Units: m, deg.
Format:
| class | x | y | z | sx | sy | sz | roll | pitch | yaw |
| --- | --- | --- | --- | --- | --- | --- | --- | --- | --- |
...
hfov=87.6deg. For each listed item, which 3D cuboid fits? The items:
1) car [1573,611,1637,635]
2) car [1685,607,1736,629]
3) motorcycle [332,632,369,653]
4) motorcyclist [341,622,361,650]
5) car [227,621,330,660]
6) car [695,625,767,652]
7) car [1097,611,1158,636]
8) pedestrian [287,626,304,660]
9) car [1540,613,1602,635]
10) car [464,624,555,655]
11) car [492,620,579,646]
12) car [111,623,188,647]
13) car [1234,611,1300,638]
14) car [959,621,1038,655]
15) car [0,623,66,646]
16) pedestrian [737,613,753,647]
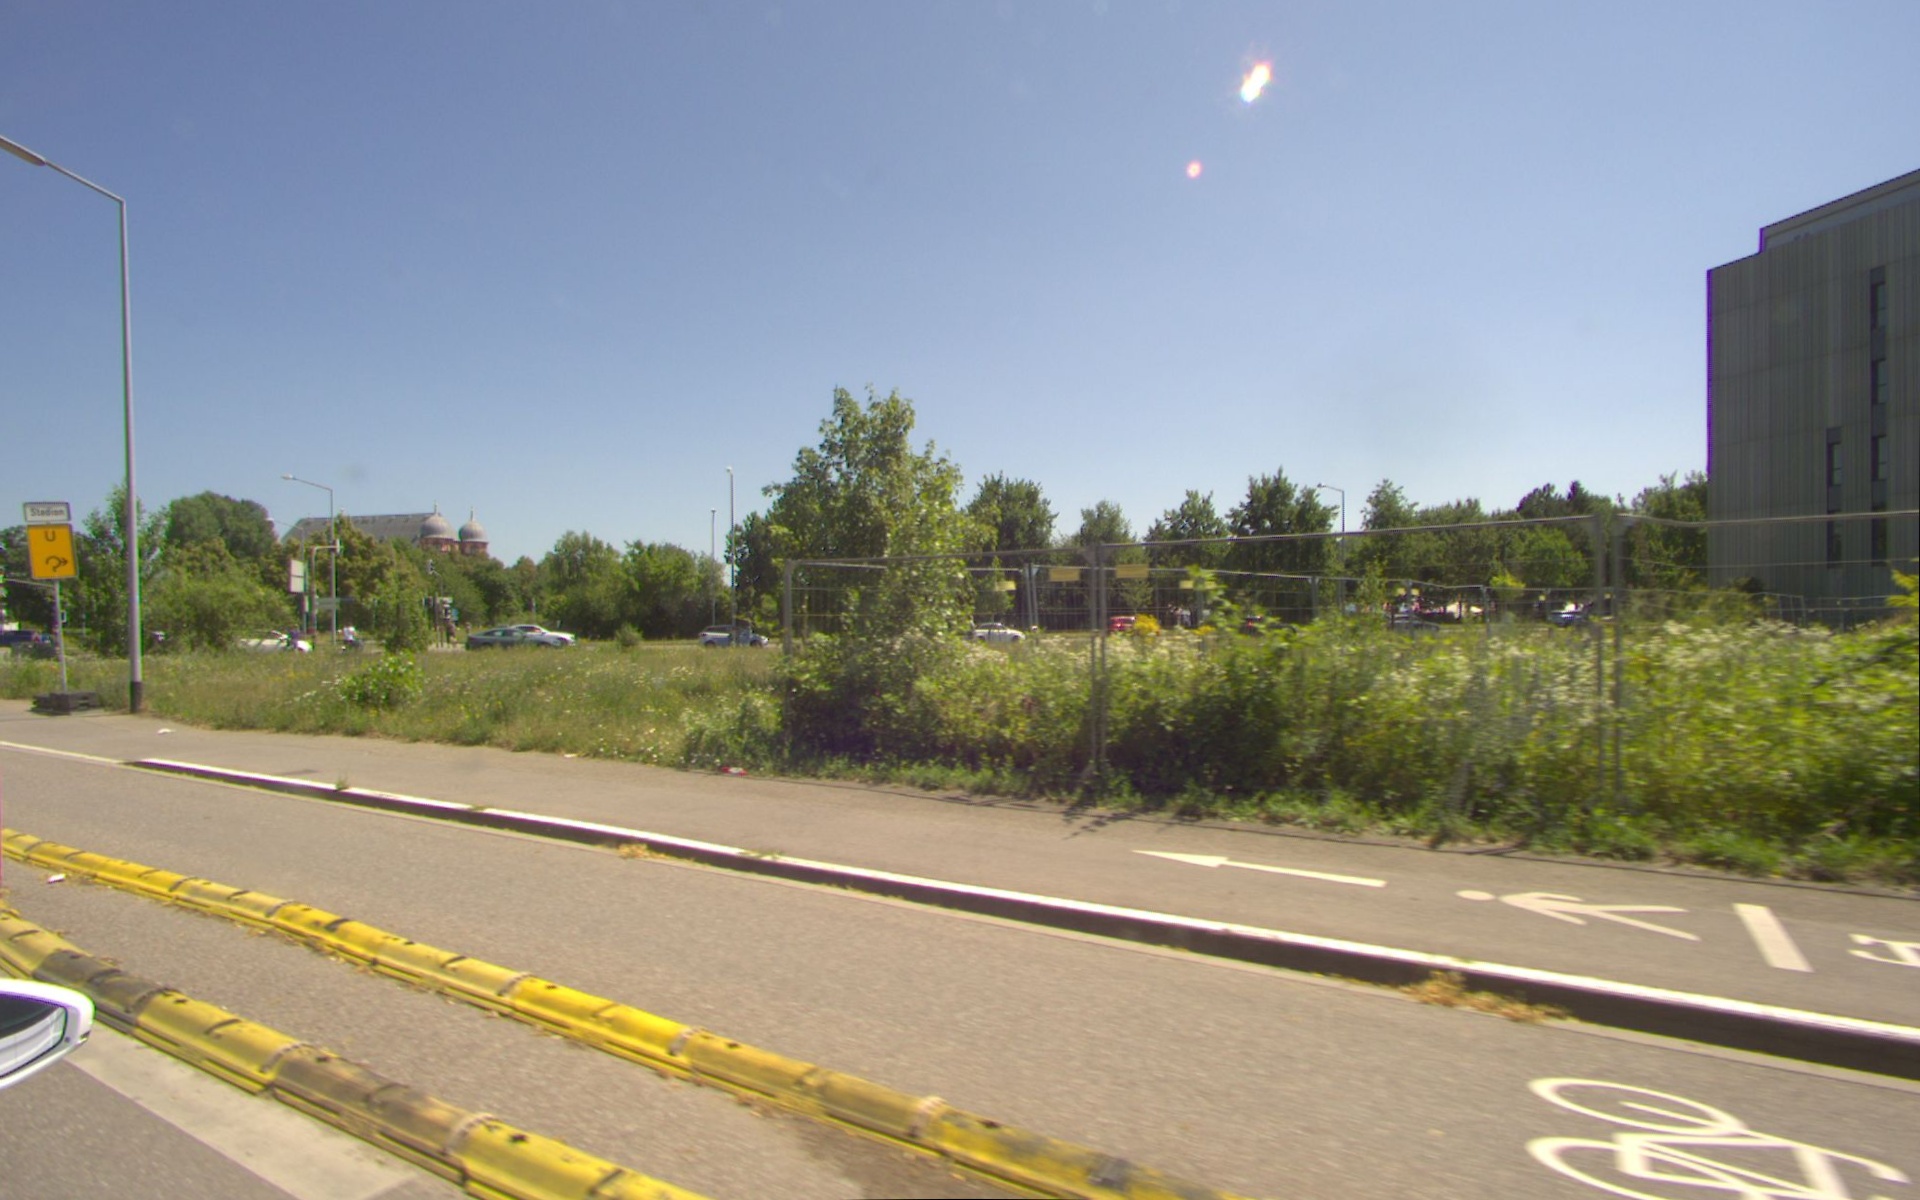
| class | x | y | z | sx | sy | sz | roll | pitch | yaw |
| --- | --- | --- | --- | --- | --- | --- | --- | --- | --- |
| car | 48.979 | 1.785 | 76.051 | 3.924 | 1.772 | 1.808 | 0 | -2 | -9 |
| car | 70.314 | 1.724 | 93.836 | 3.931 | 2.039 | 1.996 | 1 | -2 | -19 |
| motorcycle | -28.829 | 2.008 | 47.413 | 0.619 | 0.982 | 1.709 | 0 | -2 | 3 |
| motorcyclist | -28.854 | 1.719 | 47.461 | 0.570 | 1.305 | 0.615 | 0 | -1 | 3 |
| car | -33.452 | 1.972 | 49.194 | 3.962 | 1.839 | 1.754 | 2 | -2 | -44 |
| car | -13.261 | 2.203 | 57.981 | 4.002 | 1.524 | 1.998 | 0 | -2 | -15 |
| car | 11.910 | 1.697 | 71.270 | 3.924 | 1.772 | 1.808 | 0 | -2 | -9 |
| pedestrian | -31.187 | 2.000 | 47.009 | 0.506 | 1.583 | 0.496 | -1 | -1 | 32 |
| car | 48.440 | 1.907 | 79.409 | 3.924 | 1.772 | 1.808 | 0 | -2 | -9 |
| car | -24.225 | 2.150 | 54.035 | 4.337 | 1.571 | 1.736 | 2 | -3 | -22 |
| car | -25.449 | 1.983 | 60.176 | 4.559 | 1.572 | 1.738 | 0 | -2 | -16 |
| car | -65.096 | 2.816 | 80.441 | 5.083 | 1.810 | 2.025 | -1 | 0 | 12 |
| car | 20.629 | 1.687 | 67.309 | 3.927 | 1.772 | 1.806 | 0 | -2 | -15 |
| car | 2.429 | 2.369 | 62.870 | 4.543 | 2.039 | 1.994 | 1 | -2 | -24 |
| car | -77.259 | 2.885 | 83.028 | 4.838 | 1.810 | 2.025 | -1 | 0 | 10 |
| pedestrian | -10.863 | 1.506 | 50.643 | 0.724 | 1.712 | 0.498 | 0 | -1 | -18 |
